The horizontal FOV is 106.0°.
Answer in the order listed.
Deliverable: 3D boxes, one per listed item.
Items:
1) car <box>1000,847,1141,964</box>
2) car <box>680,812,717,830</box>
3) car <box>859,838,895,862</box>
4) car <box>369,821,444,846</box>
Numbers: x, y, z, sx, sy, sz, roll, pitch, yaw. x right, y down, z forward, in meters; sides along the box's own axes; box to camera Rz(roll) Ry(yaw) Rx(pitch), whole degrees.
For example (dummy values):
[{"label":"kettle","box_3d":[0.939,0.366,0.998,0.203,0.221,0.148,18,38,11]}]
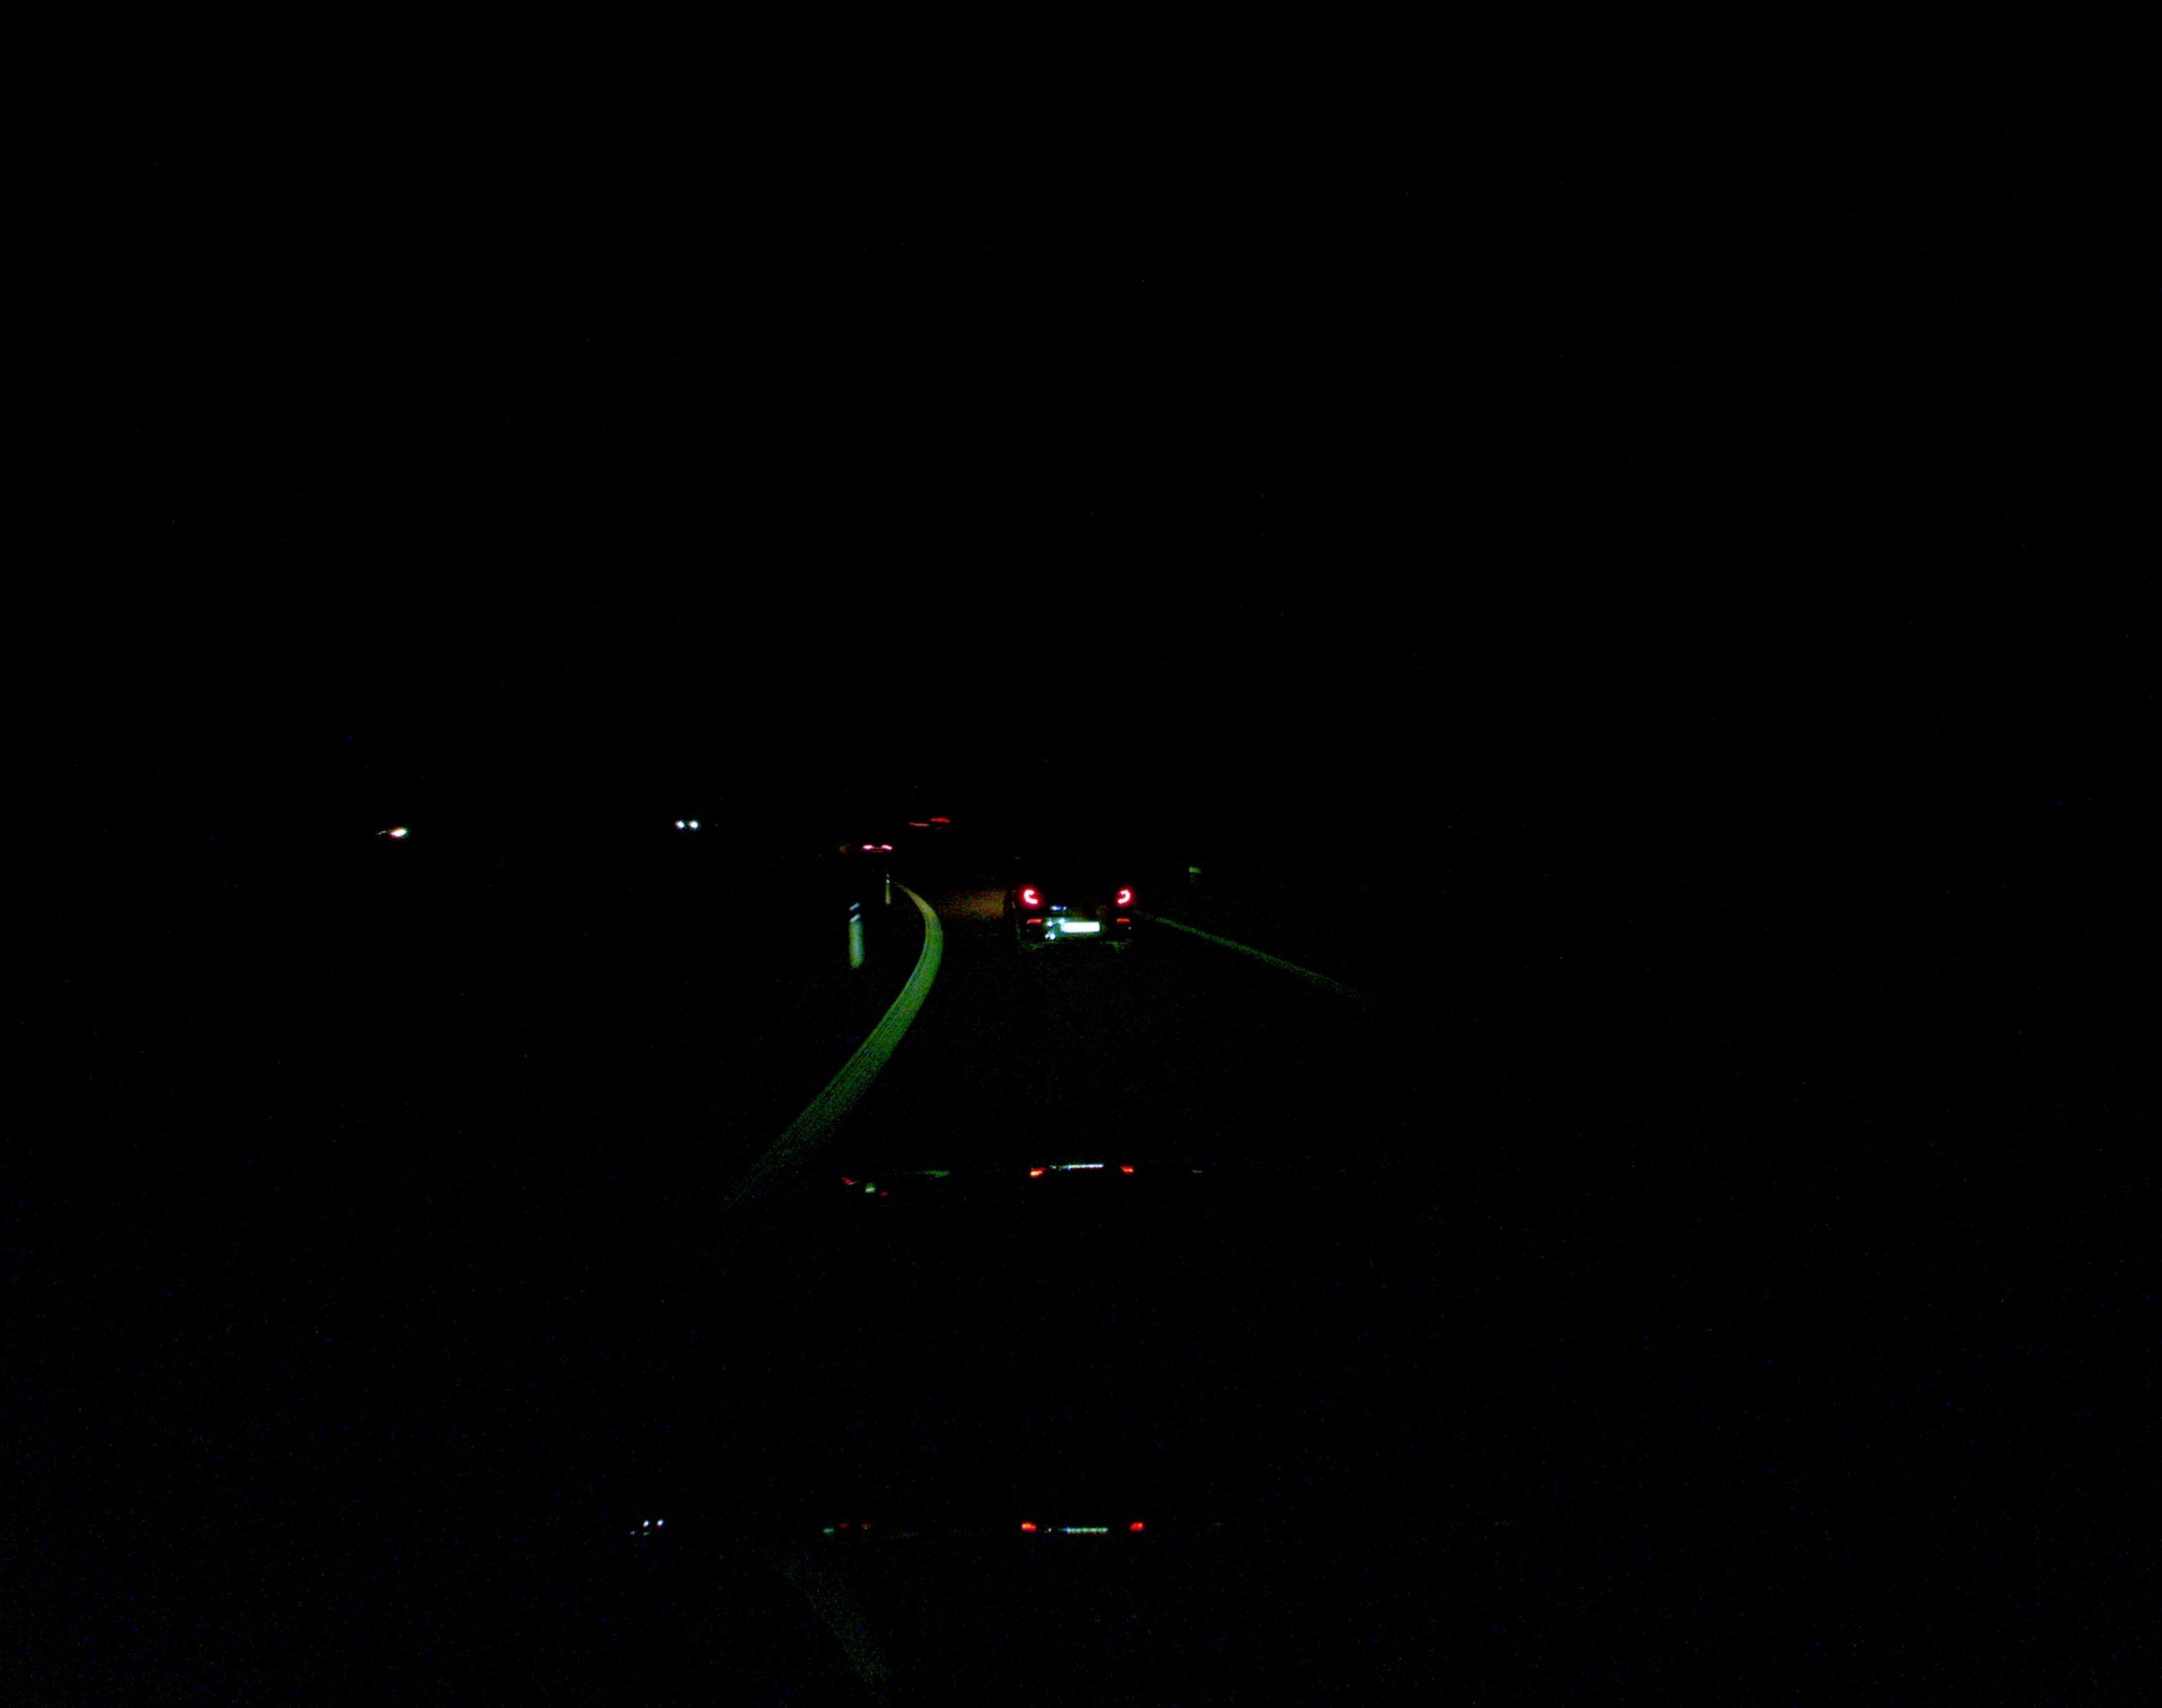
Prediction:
[{"label":"car","box_3d":[-0.320,0.665,12.730,1.690,1.477,3.989,-1,0,-8]},{"label":"car","box_3d":[-41.339,-3.554,88.073,1.801,1.886,4.008,0,3,6]},{"label":"car","box_3d":[-14.147,-0.330,56.378,1.958,1.537,4.213,-2,2,-20]},{"label":"car","box_3d":[-48.775,-1.516,59.021,1.774,1.756,4.008,0,3,6]}]
